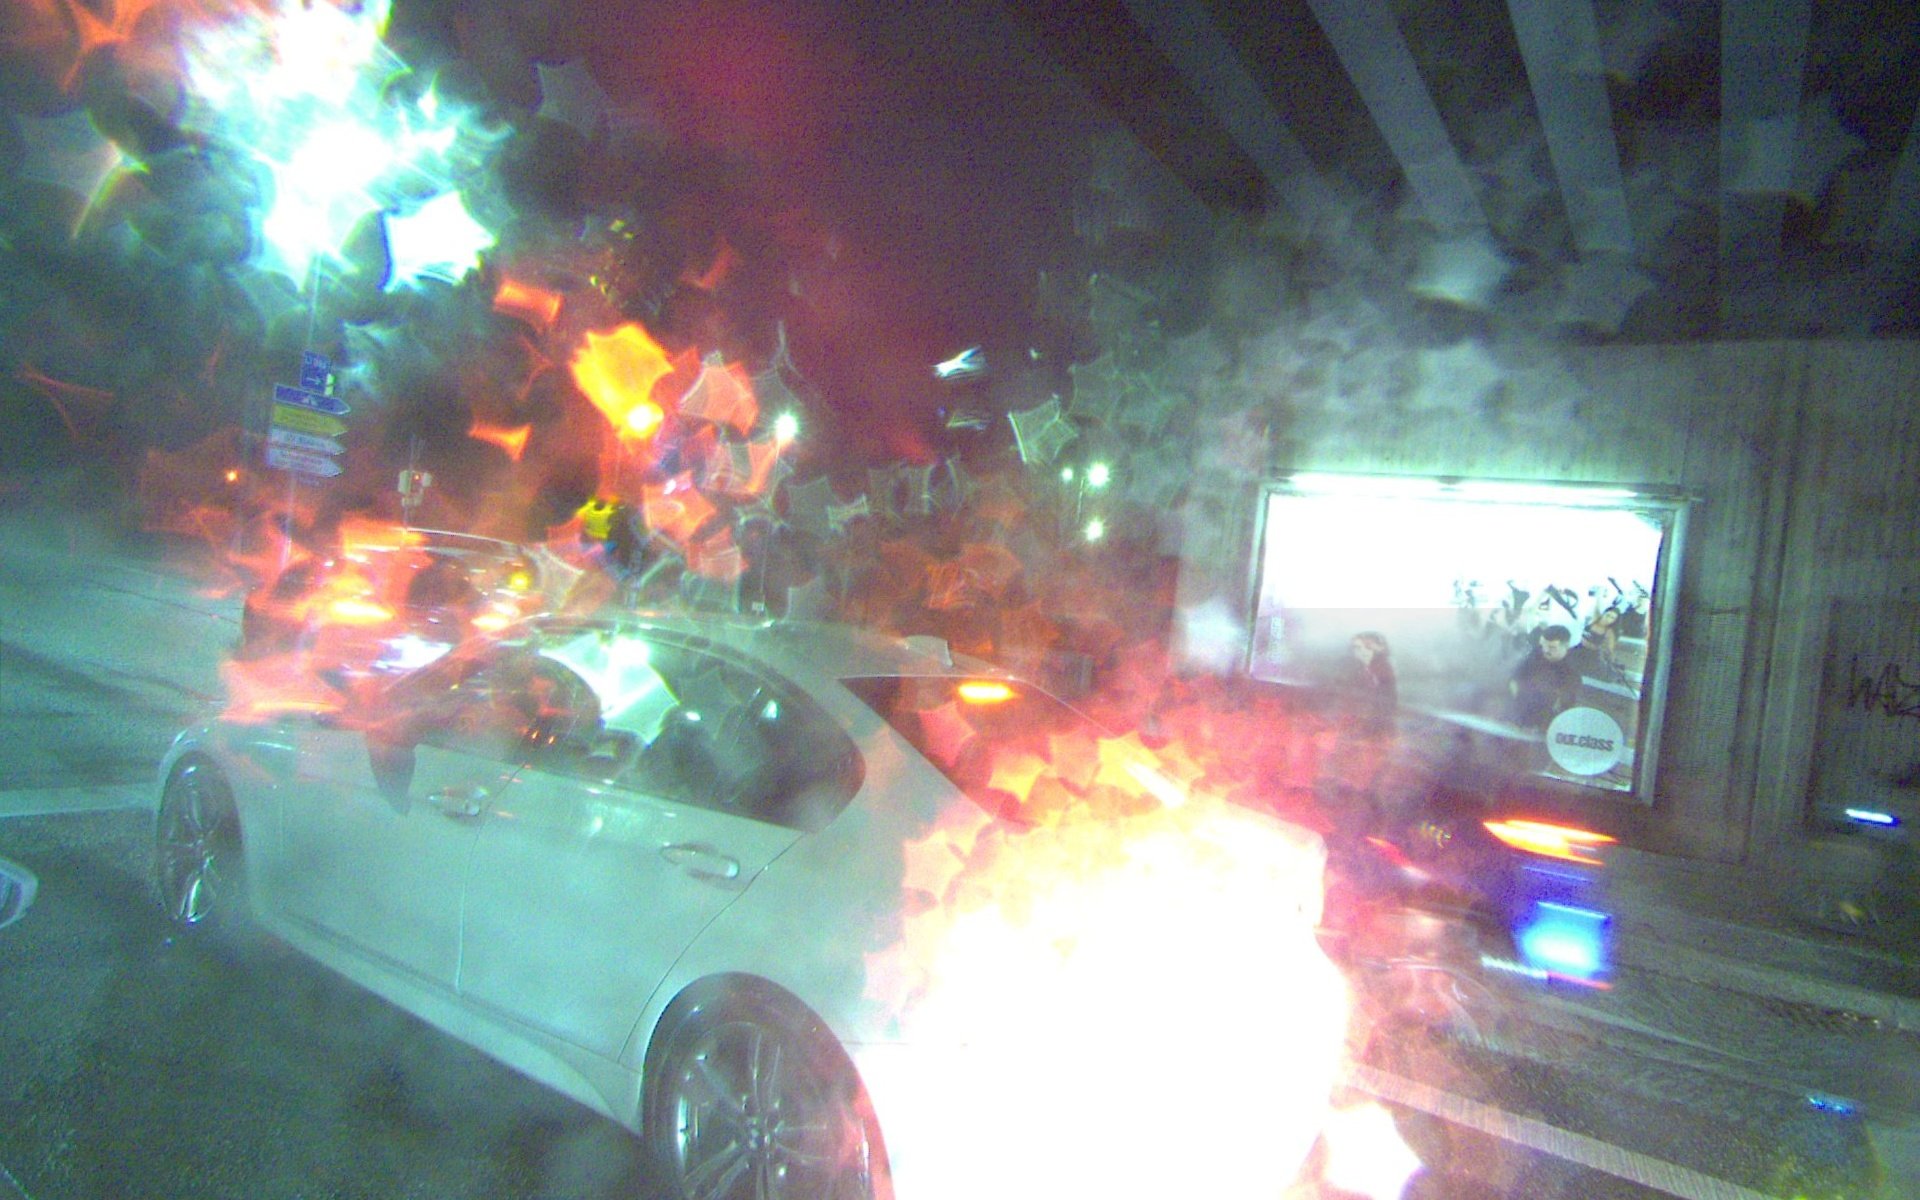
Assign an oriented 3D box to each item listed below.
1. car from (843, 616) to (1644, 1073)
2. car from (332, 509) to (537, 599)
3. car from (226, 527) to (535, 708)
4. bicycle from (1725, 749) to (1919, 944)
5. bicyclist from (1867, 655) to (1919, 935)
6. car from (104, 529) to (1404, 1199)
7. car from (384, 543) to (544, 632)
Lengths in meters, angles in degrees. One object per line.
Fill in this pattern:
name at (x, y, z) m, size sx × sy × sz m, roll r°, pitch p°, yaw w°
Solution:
car at (1.435, 1.069, 5.685) m, size 3.694 × 1.448 × 1.754 m, roll 6°, pitch -1°, yaw 28°
car at (-15.932, -1.345, 30.778) m, size 1.969 × 2.008 × 5.093 m, roll 7°, pitch -1°, yaw 36°
car at (-6.599, 0.106, 11.199) m, size 4.507 × 1.406 × 1.749 m, roll 7°, pitch -2°, yaw 45°
bicycle at (6.484, 1.699, 6.595) m, size 2.171 × 1.070 × 0.798 m, roll 6°, pitch -2°, yaw 32°
bicyclist at (6.670, 1.305, 6.520) m, size 0.886 × 1.783 × 0.798 m, roll 6°, pitch -1°, yaw 31°
car at (-0.960, 0.714, 3.486) m, size 4.277 × 1.420 × 1.720 m, roll 6°, pitch -2°, yaw 32°
car at (-10.046, -0.185, 20.690) m, size 1.610 × 1.475 × 3.593 m, roll 7°, pitch -2°, yaw -5°
